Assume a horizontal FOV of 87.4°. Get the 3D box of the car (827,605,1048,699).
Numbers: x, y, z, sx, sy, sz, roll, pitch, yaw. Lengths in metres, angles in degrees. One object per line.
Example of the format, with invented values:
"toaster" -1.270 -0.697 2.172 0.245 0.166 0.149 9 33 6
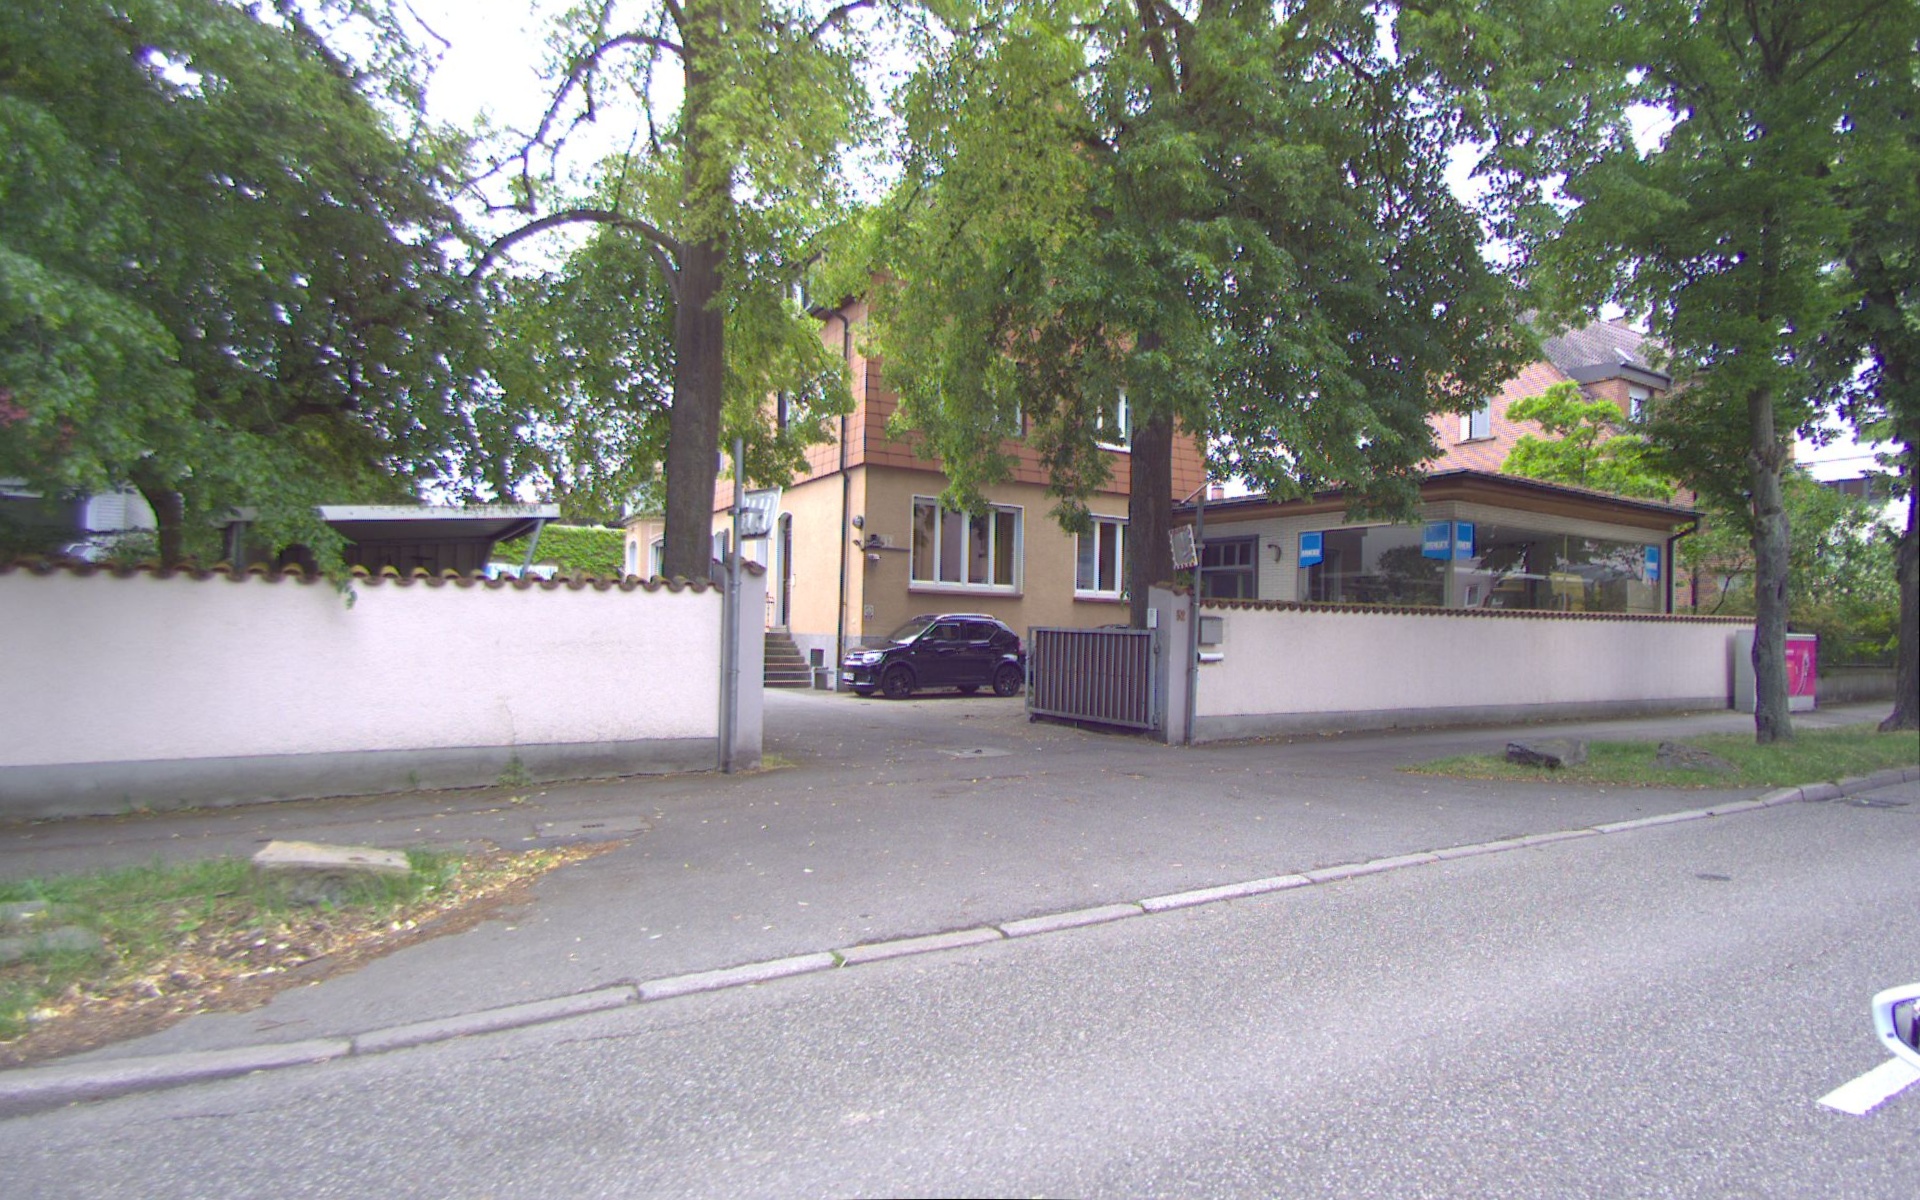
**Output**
"car" -0.420 0.997 19.678 3.955 1.661 1.771 2 -1 -31
